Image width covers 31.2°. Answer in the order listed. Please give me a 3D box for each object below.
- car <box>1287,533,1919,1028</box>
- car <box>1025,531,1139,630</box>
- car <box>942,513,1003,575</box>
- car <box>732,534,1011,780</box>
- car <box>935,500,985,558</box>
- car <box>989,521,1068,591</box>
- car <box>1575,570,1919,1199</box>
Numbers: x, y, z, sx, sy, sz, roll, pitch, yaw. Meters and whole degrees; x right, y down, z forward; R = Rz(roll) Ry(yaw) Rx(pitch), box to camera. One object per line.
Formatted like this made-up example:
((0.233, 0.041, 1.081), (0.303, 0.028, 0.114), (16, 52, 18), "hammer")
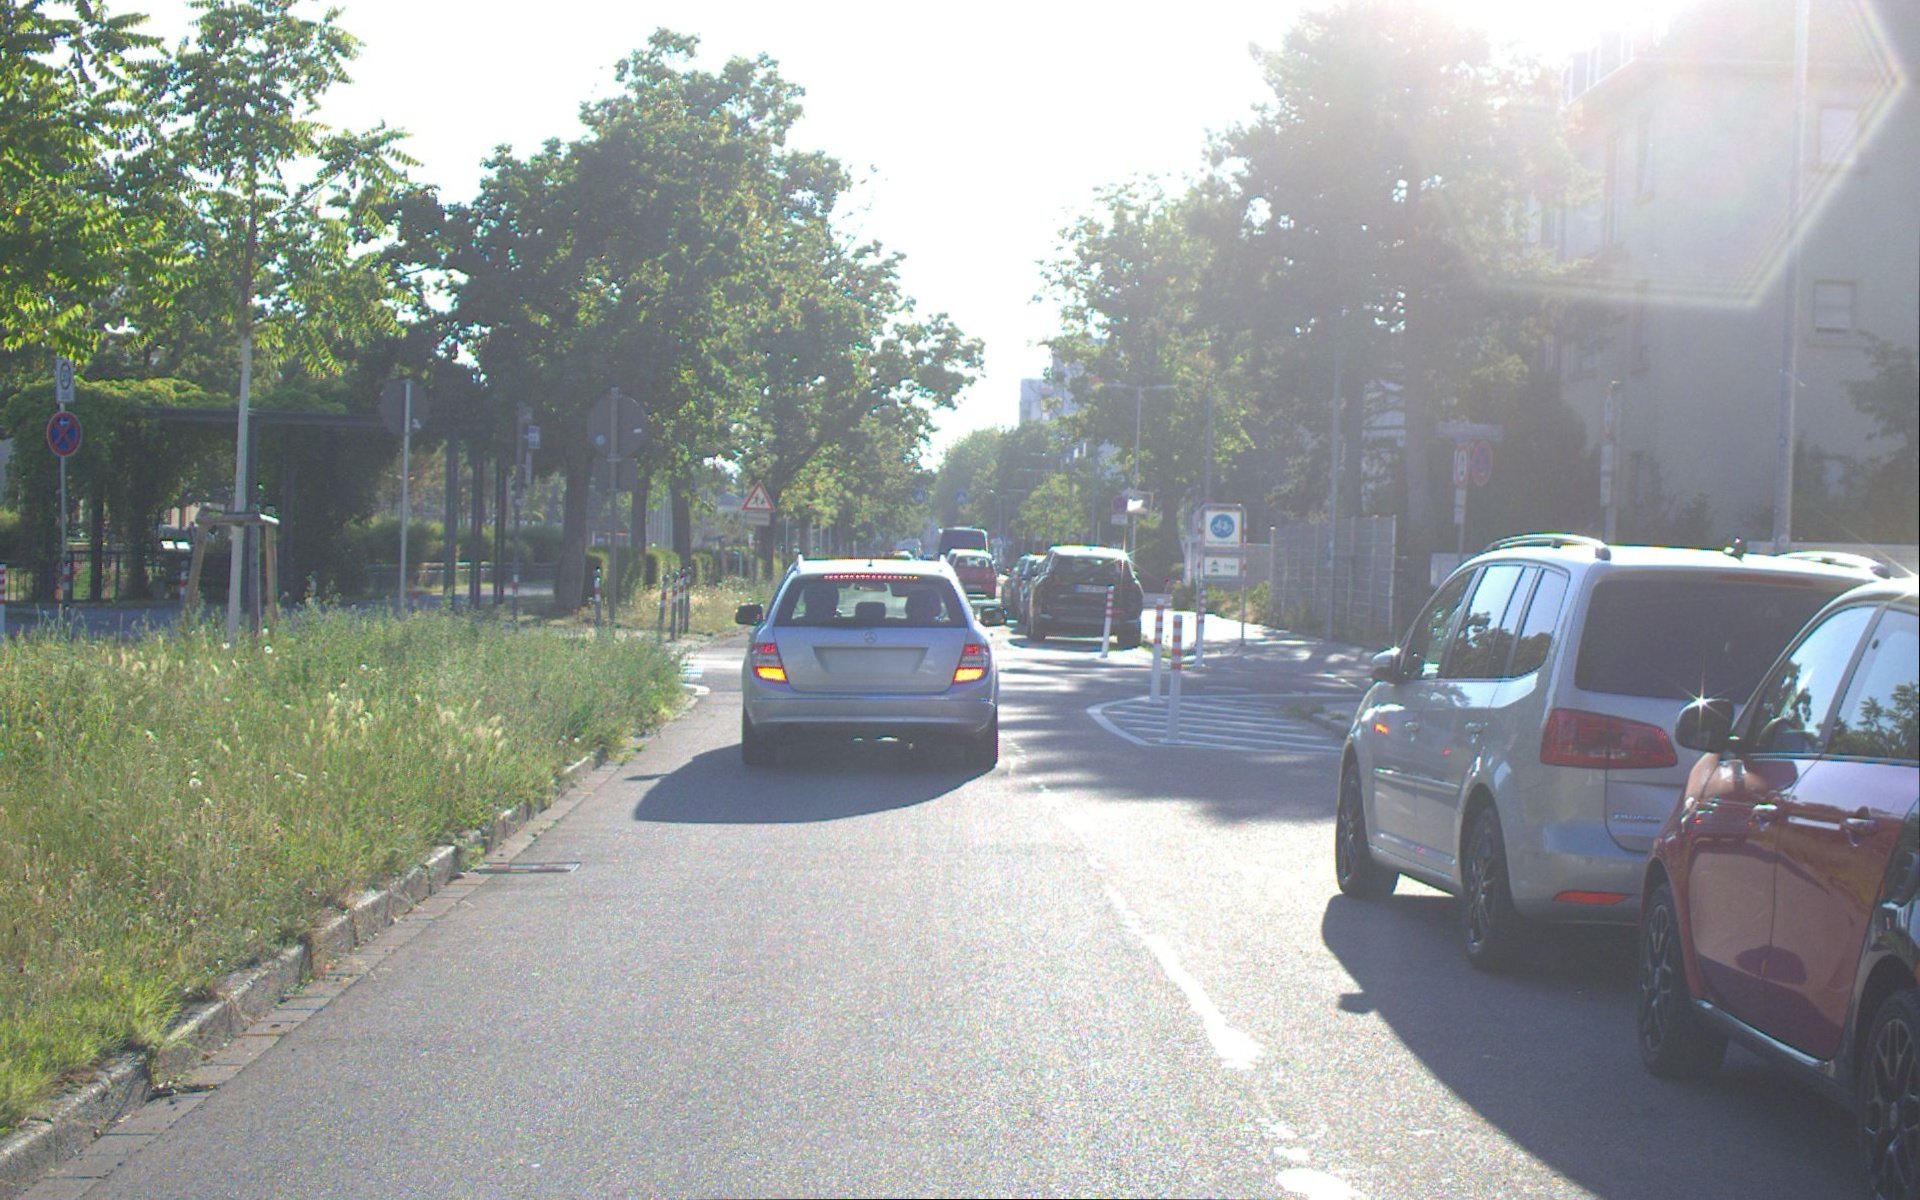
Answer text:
((2.646, 0.599, 14.332), (1.716, 1.633, 4.565), (3, 1, -4), "car")
((2.027, -0.337, 58.045), (1.721, 1.591, 4.000), (1, 0, 0), "car")
((0.410, -1.910, 116.416), (1.988, 2.016, 4.000), (2, 1, 0), "car")
((-0.592, 0.335, 24.586), (1.823, 1.561, 4.000), (0, 2, 0), "car")
((0.002, -2.775, 134.459), (1.861, 2.185, 5.070), (2, 1, 0), "car")
((1.605, -1.059, 81.495), (1.721, 1.591, 4.000), (2, 1, 0), "car")
((2.866, 0.717, 9.078), (1.729, 1.521, 3.735), (0, 2, -1), "car")
